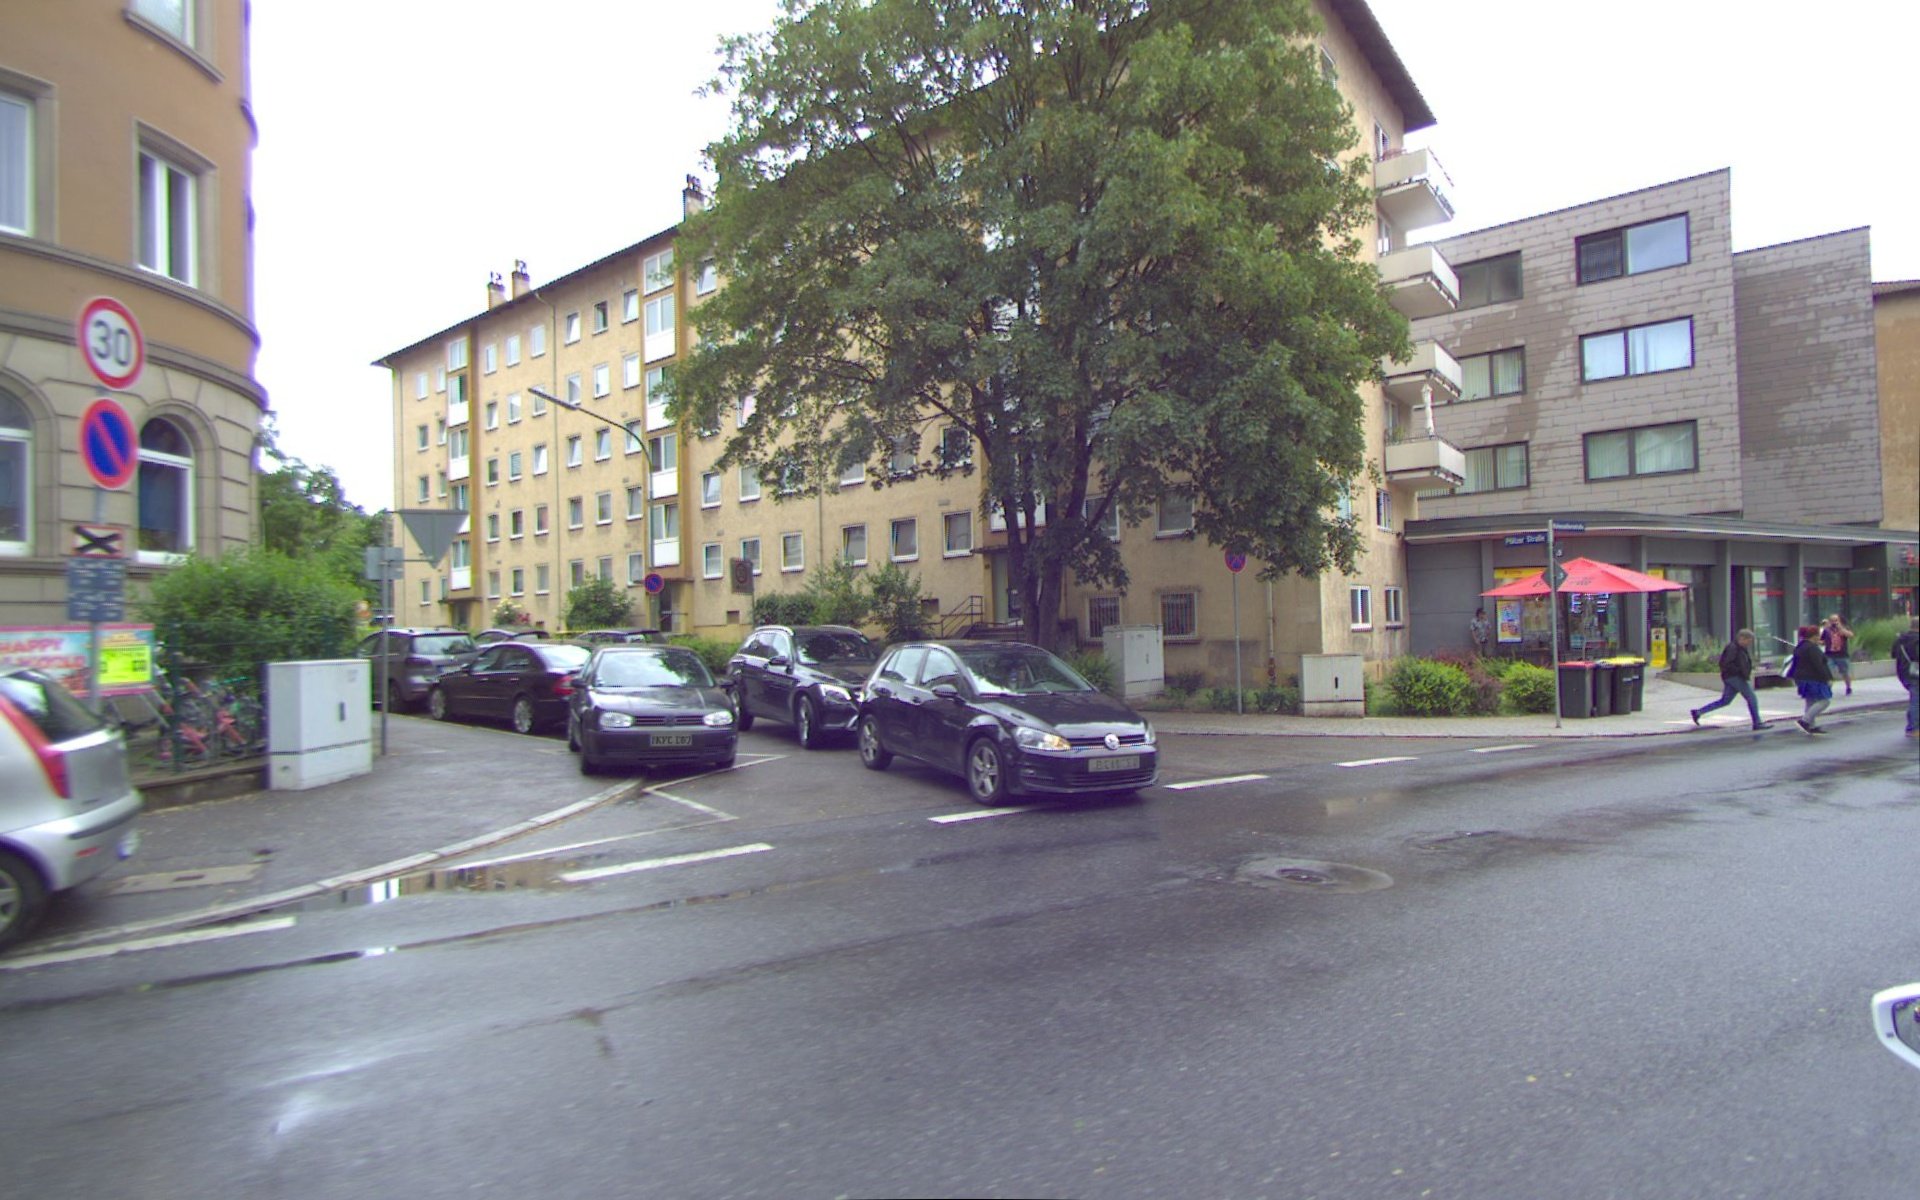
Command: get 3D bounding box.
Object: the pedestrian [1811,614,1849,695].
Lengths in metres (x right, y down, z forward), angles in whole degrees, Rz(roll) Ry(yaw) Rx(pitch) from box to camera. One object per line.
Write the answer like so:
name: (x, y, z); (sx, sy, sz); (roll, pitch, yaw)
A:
pedestrian: (20.016, 1.252, 23.104); (0.462, 1.813, 0.538); (2, 0, -38)

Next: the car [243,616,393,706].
car: (-14.882, 1.332, 23.204); (3.940, 1.751, 1.840); (2, 0, 41)

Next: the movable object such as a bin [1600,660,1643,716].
movable object such as a bin: (13.221, 1.760, 20.076); (0.599, 1.095, 0.488); (2, -3, -29)

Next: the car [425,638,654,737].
car: (-7.201, 1.384, 17.056); (4.165, 1.439, 1.705); (-1, -2, 37)

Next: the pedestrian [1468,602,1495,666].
pedestrian: (15.206, 0.999, 29.305); (0.626, 1.840, 0.635); (-1, -2, 26)

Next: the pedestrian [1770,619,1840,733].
pedestrian: (13.224, 1.186, 15.732); (0.731, 1.731, 0.677); (-4, -4, 40)

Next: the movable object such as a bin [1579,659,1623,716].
movable object such as a bin: (12.646, 1.726, 19.827); (0.599, 1.095, 0.488); (2, -3, -29)

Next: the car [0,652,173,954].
car: (-6.385, 1.017, 4.922); (3.799, 1.473, 1.622); (2, -2, -33)

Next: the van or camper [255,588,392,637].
van or camper: (-37.003, 0.765, 58.631); (2.249, 2.668, 6.347); (2, 0, 30)

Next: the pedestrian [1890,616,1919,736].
pedestrian: (14.009, 1.111, 14.748); (0.459, 1.731, 0.542); (-2, -3, 40)

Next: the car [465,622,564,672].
car: (-13.349, 1.365, 30.035); (3.315, 1.238, 1.488); (3, 2, 41)

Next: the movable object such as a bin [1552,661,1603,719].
movable object such as a bin: (11.982, 1.737, 19.499); (0.722, 1.095, 0.551); (2, -4, -29)

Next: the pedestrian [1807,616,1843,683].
pedestrian: (23.104, 1.312, 26.837); (0.651, 1.728, 0.658); (2, 0, 44)

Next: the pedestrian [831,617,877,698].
pedestrian: (-2.337, 1.251, 22.216); (0.618, 1.705, 0.814); (2, 3, 41)

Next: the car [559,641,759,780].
car: (-3.831, 1.235, 12.361); (1.720, 1.408, 3.804); (2, -3, -26)

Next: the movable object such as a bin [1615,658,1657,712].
movable object such as a bin: (13.804, 1.725, 20.521); (0.530, 1.085, 0.472); (0, -3, 7)

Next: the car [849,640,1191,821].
car: (0.413, 1.170, 10.356); (1.722, 1.408, 3.799); (2, -2, -29)

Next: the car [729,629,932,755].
car: (-2.041, 1.266, 14.881); (1.673, 1.602, 3.793); (2, -3, -29)

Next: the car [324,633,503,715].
car: (-10.936, 1.402, 20.029); (3.776, 1.459, 1.705); (-1, -2, 37)

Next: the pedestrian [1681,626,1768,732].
pedestrian: (13.190, 1.328, 17.348); (0.708, 1.754, 1.054); (0, -1, -39)

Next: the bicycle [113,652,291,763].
bicycle: (-7.712, 1.064, 10.218); (1.673, 1.024, 0.806); (-2, -2, 27)

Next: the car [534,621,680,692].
car: (-9.172, 1.415, 26.062); (3.545, 1.528, 1.685); (2, 2, 30)
